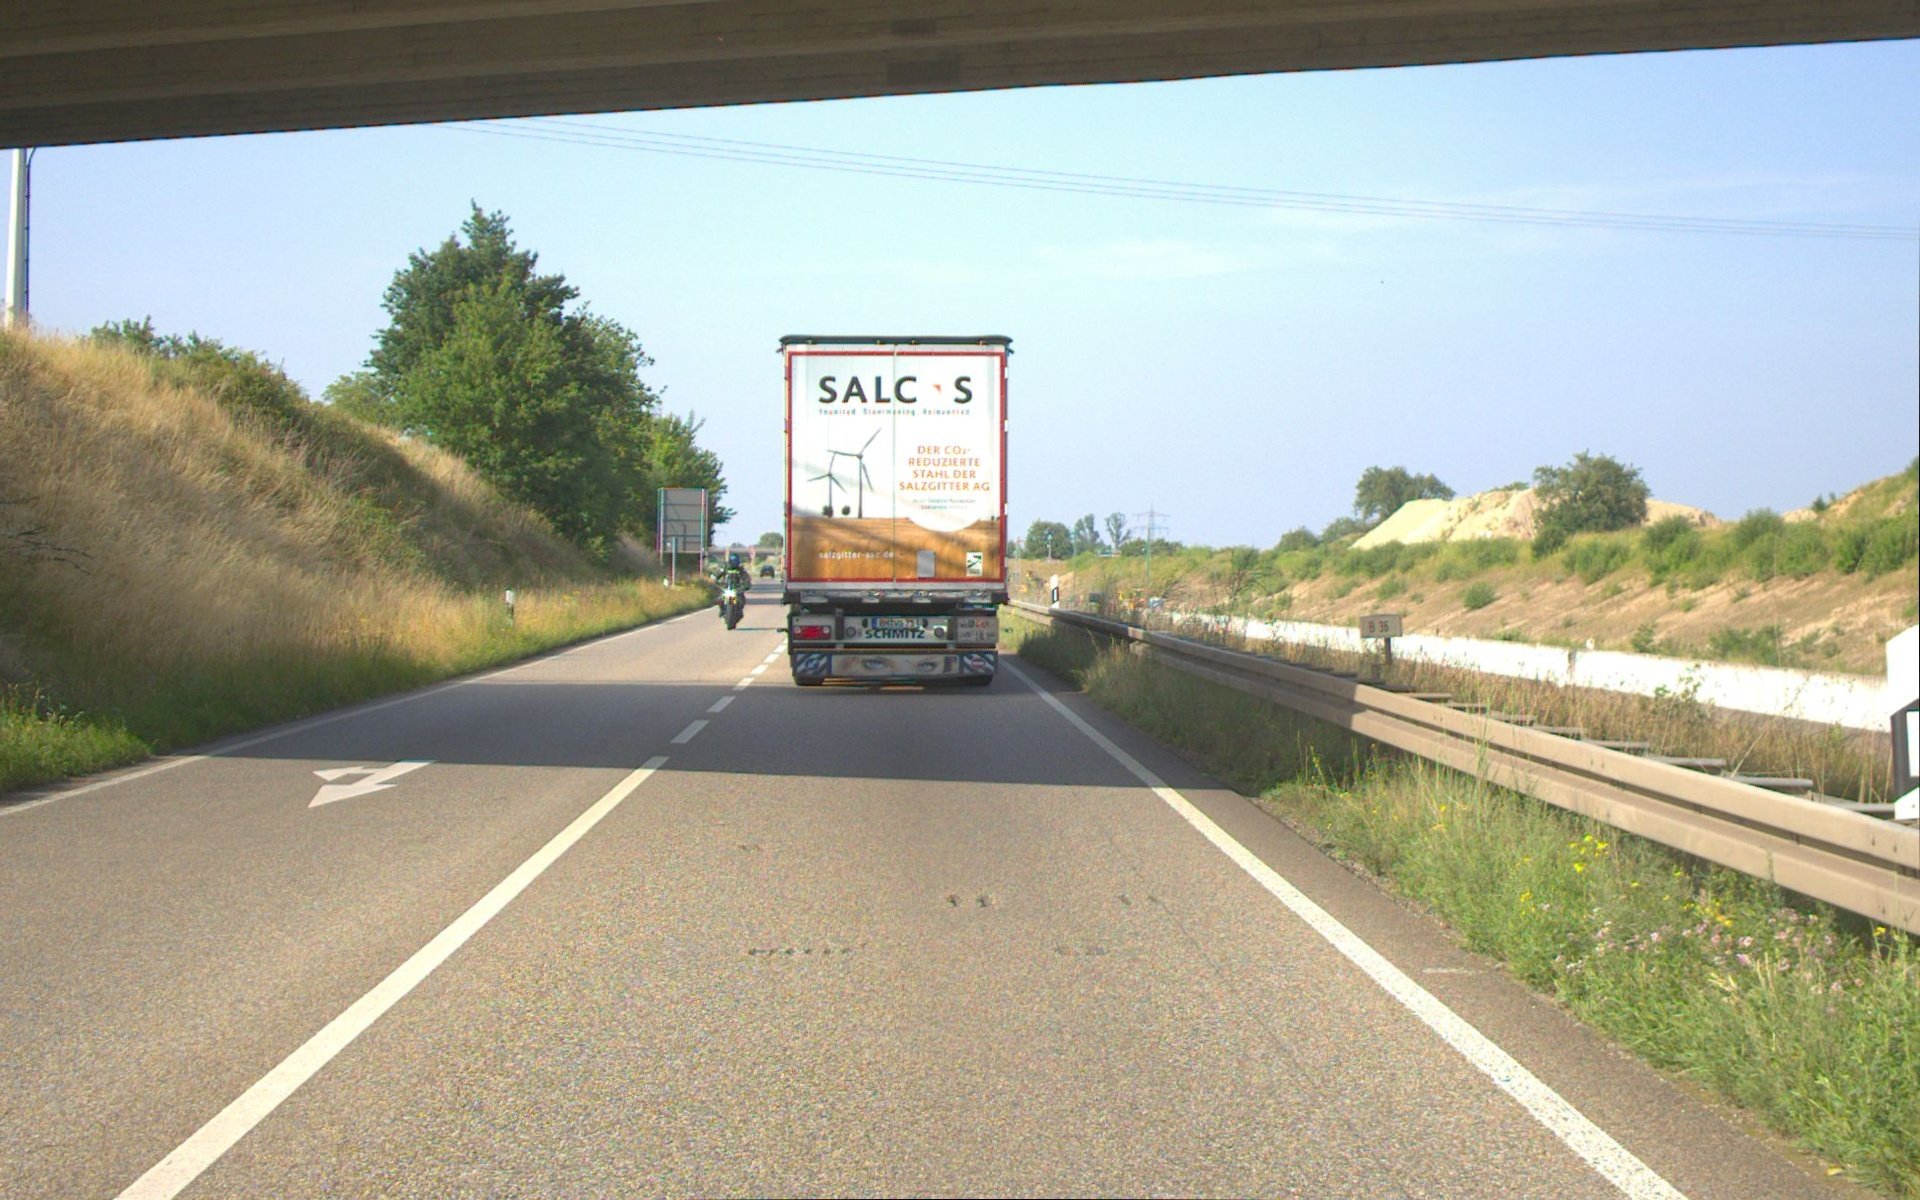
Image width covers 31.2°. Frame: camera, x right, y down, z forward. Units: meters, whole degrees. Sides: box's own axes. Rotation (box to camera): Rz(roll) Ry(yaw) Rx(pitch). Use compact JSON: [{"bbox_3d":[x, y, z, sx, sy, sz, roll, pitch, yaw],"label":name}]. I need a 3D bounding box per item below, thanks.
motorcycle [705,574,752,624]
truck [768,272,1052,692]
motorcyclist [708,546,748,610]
[{"bbox_3d":[-5.289,-0.030,78.518,1.041,1.113,2.132,0,0,-3],"label":"motorcycle"},{"bbox_3d":[-0.788,-1.350,42.657,3.152,4.672,8.442,0,0,-3],"label":"truck"},{"bbox_3d":[-5.298,-0.495,78.478,0.879,1.446,1.284,0,0,-3],"label":"motorcyclist"}]
